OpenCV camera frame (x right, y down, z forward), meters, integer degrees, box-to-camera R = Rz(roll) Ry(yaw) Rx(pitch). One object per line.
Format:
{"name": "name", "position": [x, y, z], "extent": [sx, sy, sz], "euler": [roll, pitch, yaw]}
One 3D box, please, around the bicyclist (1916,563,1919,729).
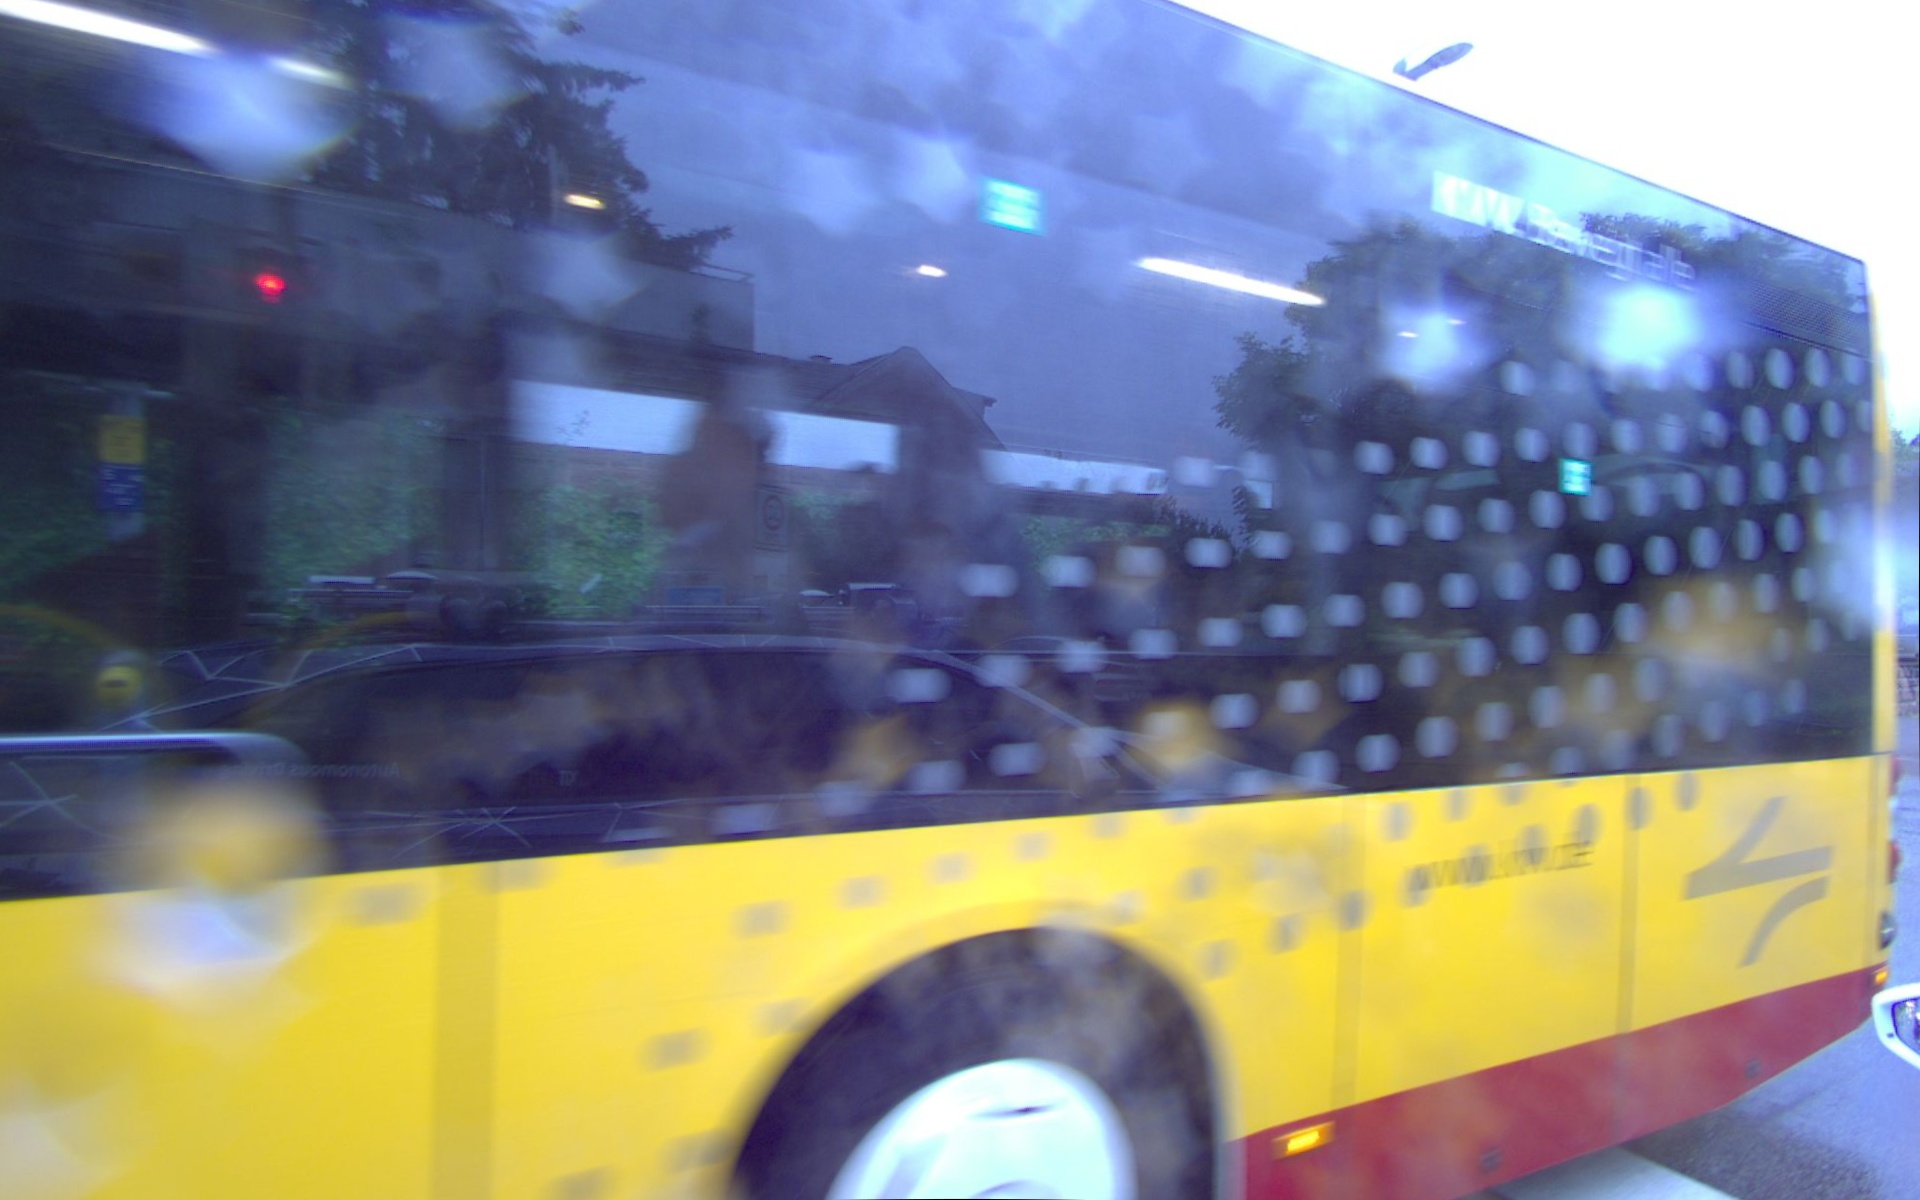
{"name": "bicyclist", "position": [10.824, 0.498, 10.761], "extent": [0.695, 1.794, 0.653], "euler": [-1, 1, -30]}

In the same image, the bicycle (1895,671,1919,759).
{"name": "bicycle", "position": [10.867, 1.210, 10.807], "extent": [1.912, 0.882, 0.658], "euler": [-1, 1, -31]}

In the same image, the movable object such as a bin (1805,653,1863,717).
{"name": "movable object such as a bin", "position": [13.533, 1.309, 15.552], "extent": [0.538, 0.942, 0.535], "euler": [2, 0, -32]}

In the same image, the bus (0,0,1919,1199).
{"name": "bus", "position": [-2.893, -0.120, 1.565], "extent": [11.785, 2.978, 2.796], "euler": [2, 0, -27]}
